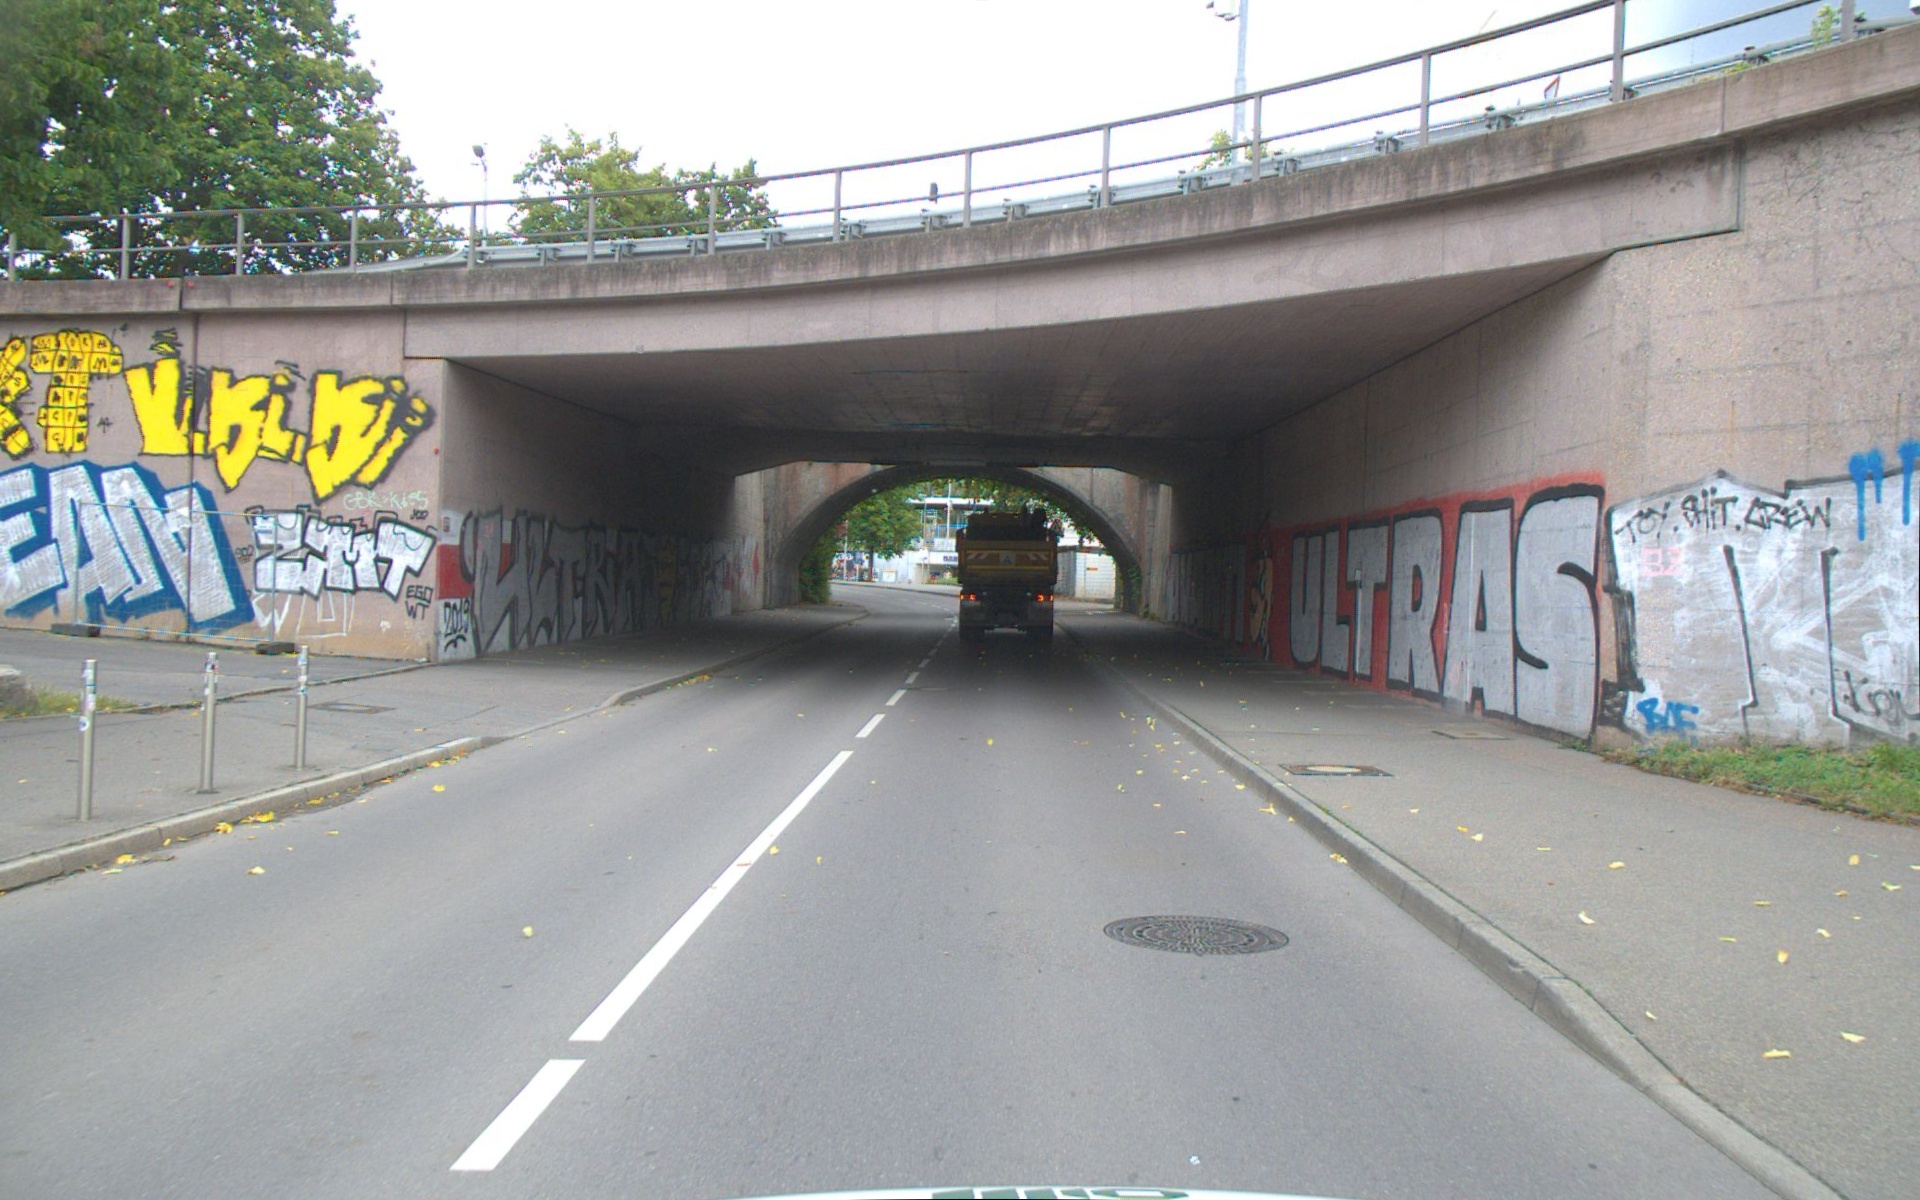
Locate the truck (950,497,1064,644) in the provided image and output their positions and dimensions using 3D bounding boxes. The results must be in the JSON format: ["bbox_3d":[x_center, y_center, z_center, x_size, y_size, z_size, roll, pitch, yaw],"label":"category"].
[{"bbox_3d":[1.322,-0.884,45.246,2.707,3.543,8.133,2,2,2],"label":"truck"}]
